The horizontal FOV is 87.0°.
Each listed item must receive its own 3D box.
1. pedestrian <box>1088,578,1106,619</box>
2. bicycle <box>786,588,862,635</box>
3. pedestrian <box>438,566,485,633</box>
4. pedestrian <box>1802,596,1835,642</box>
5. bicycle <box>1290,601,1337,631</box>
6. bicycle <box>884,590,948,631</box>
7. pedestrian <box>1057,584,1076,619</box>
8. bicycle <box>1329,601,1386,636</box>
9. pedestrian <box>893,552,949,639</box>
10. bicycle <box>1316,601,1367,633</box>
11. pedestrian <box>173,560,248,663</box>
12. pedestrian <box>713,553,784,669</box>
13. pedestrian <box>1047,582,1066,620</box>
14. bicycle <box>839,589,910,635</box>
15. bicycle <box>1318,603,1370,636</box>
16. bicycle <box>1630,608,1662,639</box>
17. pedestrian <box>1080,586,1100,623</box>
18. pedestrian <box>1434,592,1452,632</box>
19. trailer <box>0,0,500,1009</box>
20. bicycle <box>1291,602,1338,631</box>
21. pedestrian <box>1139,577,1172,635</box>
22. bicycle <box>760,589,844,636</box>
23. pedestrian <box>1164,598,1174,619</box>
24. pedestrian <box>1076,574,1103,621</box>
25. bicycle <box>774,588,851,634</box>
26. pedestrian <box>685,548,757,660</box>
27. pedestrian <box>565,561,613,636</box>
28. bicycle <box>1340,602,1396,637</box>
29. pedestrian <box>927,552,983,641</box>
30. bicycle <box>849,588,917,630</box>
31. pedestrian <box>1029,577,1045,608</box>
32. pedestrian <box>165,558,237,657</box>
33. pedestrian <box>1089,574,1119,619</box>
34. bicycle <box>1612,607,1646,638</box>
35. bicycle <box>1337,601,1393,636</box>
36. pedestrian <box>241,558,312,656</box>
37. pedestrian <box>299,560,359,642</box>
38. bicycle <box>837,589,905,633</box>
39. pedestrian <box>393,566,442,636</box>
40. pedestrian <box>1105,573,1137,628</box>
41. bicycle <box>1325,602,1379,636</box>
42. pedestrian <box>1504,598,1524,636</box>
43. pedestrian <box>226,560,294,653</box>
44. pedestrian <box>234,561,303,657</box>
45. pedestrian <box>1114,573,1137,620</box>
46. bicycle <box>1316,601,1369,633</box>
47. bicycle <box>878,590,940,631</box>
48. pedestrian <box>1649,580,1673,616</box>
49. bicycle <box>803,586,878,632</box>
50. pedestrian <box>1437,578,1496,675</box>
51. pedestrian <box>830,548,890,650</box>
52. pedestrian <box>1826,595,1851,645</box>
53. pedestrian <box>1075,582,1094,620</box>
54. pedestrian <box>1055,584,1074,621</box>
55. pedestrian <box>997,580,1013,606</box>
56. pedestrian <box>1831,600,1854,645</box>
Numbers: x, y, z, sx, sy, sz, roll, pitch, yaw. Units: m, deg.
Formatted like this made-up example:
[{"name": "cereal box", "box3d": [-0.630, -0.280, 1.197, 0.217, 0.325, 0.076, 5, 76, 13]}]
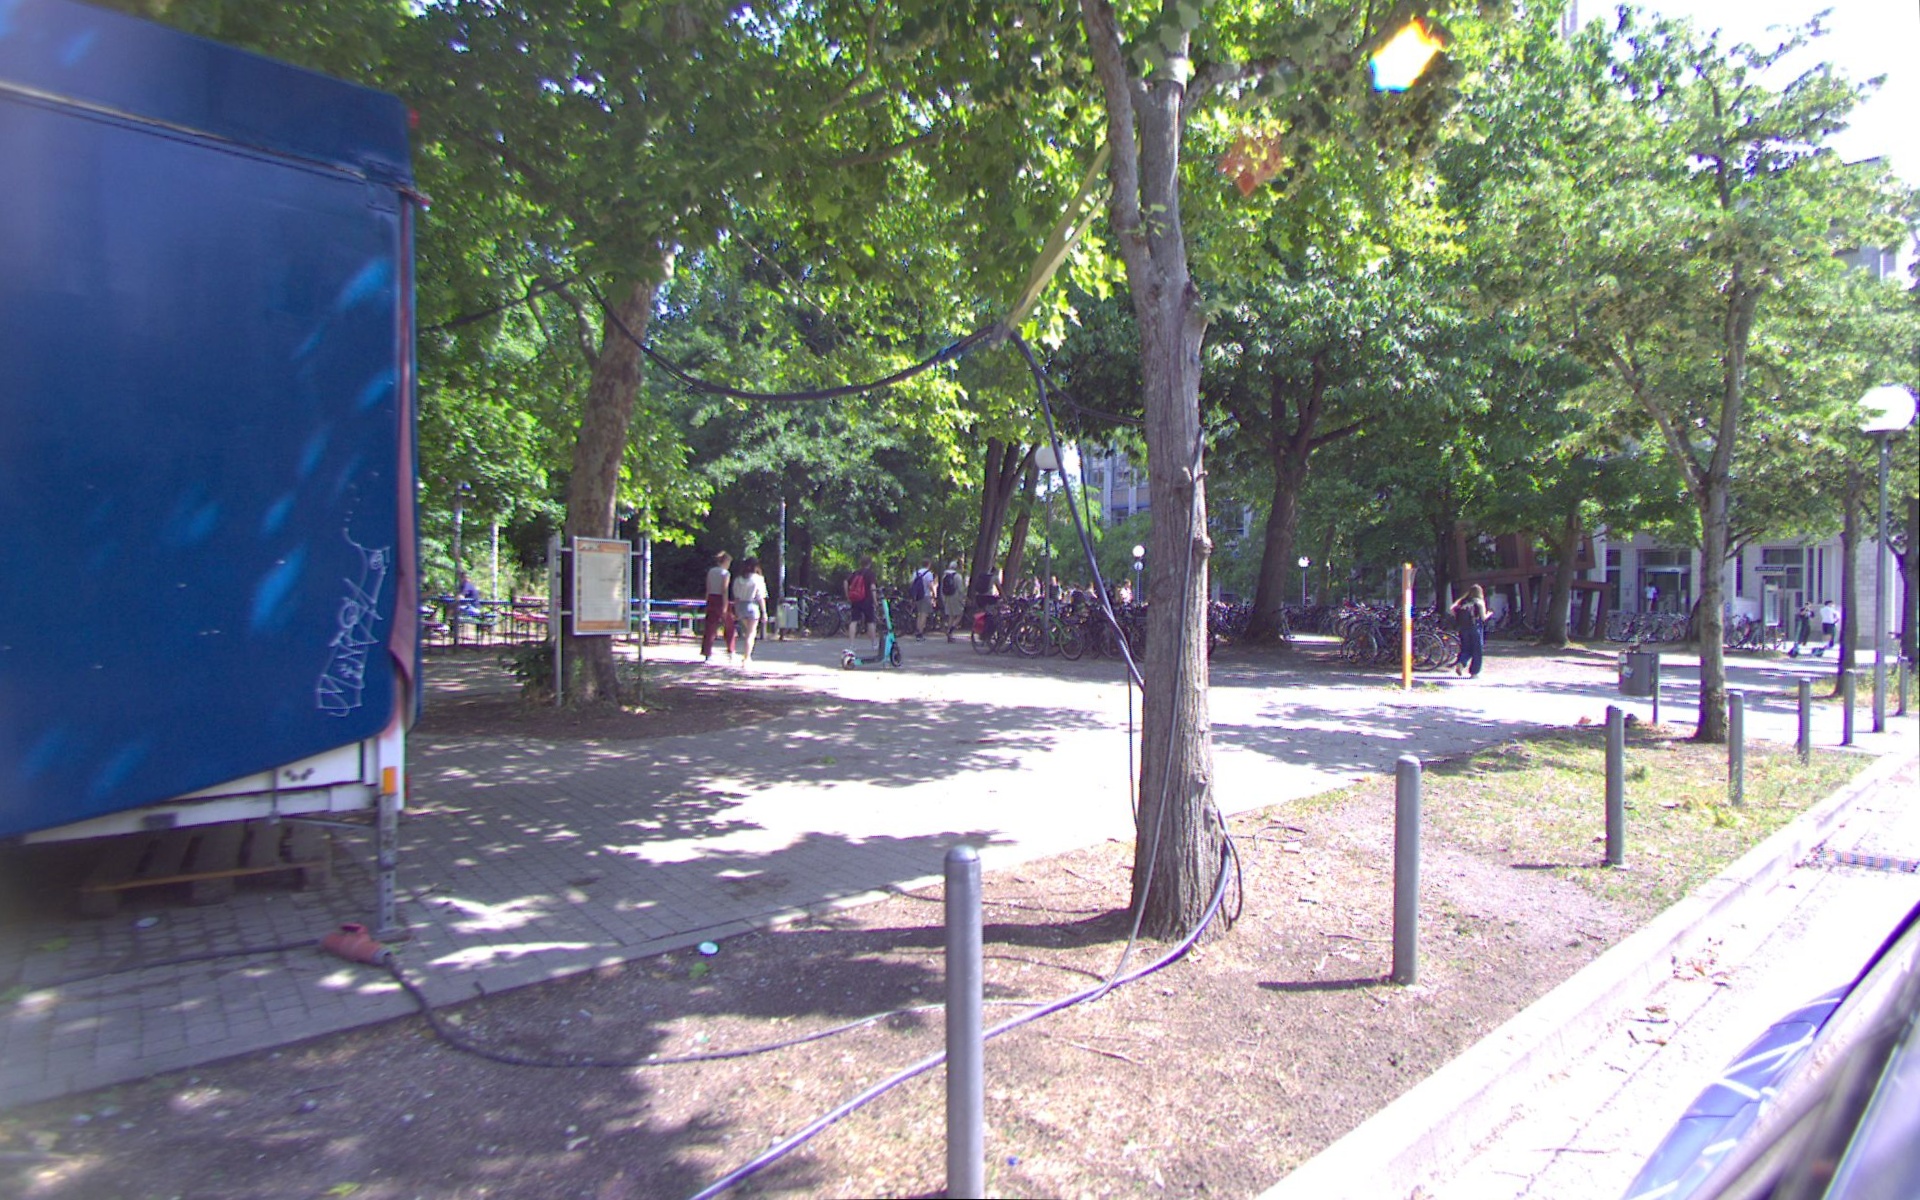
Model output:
[{"name": "pedestrian", "box3d": [6.074, -0.077, 44.803, 0.732, 1.797, 0.719, 1, -1, 9]}, {"name": "bicycle", "box3d": [-3.291, 0.267, 24.360, 1.943, 1.052, 0.430, 2, 1, 30]}, {"name": "pedestrian", "box3d": [-9.921, -0.007, 20.141, 0.667, 1.287, 0.612, 5, 2, 45]}, {"name": "pedestrian", "box3d": [34.595, 0.758, 40.801, 0.795, 1.820, 0.619, 1, 0, 5]}, {"name": "bicycle", "box3d": [14.890, 0.669, 42.697, 1.812, 1.185, 0.345, 1, 0, 5]}, {"name": "bicycle", "box3d": [-1.216, 0.271, 27.711, 1.737, 1.052, 0.474, 2, 1, 28]}, {"name": "pedestrian", "box3d": [5.545, 0.090, 52.614, 0.729, 1.797, 0.722, 2, -1, -16]}, {"name": "bicycle", "box3d": [13.949, 0.638, 35.566, 1.817, 1.185, 0.352, 1, 0, 13]}, {"name": "pedestrian", "box3d": [-0.915, -0.117, 23.860, 0.828, 1.973, 1.068, 3, 1, 28]}, {"name": "bicycle", "box3d": [14.935, 0.669, 39.642, 1.815, 1.185, 0.412, 1, 0, 10]}, {"name": "pedestrian", "box3d": [-10.434, 0.156, 14.090, 0.570, 1.363, 0.717, 4, 2, 44]}, {"name": "pedestrian", "box3d": [-3.171, 0.150, 15.186, 0.774, 1.682, 0.698, 1, 0, -41]}, {"name": "pedestrian", "box3d": [4.597, 0.038, 48.350, 0.730, 1.797, 0.721, 2, -1, -3]}, {"name": "bicycle", "box3d": [-2.119, 0.283, 24.950, 1.768, 1.052, 0.430, 2, 1, 28]}, {"name": "bicycle", "box3d": [14.856, 0.749, 39.151, 1.815, 1.185, 0.412, 1, 0, 10]}, {"name": "bicycle", "box3d": [26.143, 0.909, 38.552, 1.486, 1.099, 0.482, 3, 0, -36]}, {"name": "pedestrian", "box3d": [6.578, 0.224, 51.048, 0.729, 1.797, 0.722, 2, -1, -16]}, {"name": "pedestrian", "box3d": [21.234, 0.542, 44.443, 0.426, 1.725, 0.929, -2, -3, 44]}, {"name": "trailer", "box3d": [-4.857, -0.466, 2.583, 6.150, 3.090, 2.695, 1, 1, -43]}, {"name": "bicycle", "box3d": [15.077, 0.684, 43.032, 1.812, 1.185, 0.345, 1, 0, 5]}, {"name": "pedestrian", "box3d": [6.178, 0.200, 32.034, 0.706, 1.797, 0.746, 2, -1, -21]}, {"name": "bicycle", "box3d": [-3.607, 0.272, 23.033, 1.943, 0.991, 0.606, 2, 1, 30]}, {"name": "pedestrian", "box3d": [11.913, 0.487, 57.705, 0.379, 1.228, 0.403, 2, -1, -33]}, {"name": "pedestrian", "box3d": [4.939, -0.094, 38.603, 0.742, 1.797, 0.710, 1, -1, 41]}, {"name": "bicycle", "box3d": [-3.498, 0.250, 23.979, 1.943, 0.991, 0.434, 2, 1, 30]}, {"name": "pedestrian", "box3d": [-3.717, 0.054, 15.730, 0.810, 1.682, 0.766, 1, 0, -41]}, {"name": "pedestrian", "box3d": [-8.271, -0.030, 22.560, 0.667, 1.601, 0.707, 4, 2, 44]}, {"name": "bicycle", "box3d": [14.787, 0.705, 36.671, 1.817, 1.185, 0.387, 1, 0, 13]}, {"name": "pedestrian", "box3d": [-0.105, -0.086, 23.383, 0.828, 1.973, 1.068, 3, 1, 28]}, {"name": "bicycle", "box3d": [-2.035, 0.228, 26.792, 1.815, 1.052, 0.474, 2, 1, 28]}, {"name": "pedestrian", "box3d": [3.880, -0.397, 51.031, 0.679, 1.530, 0.514, 3, 1, 6]}, {"name": "pedestrian", "box3d": [-11.000, 0.103, 14.672, 0.570, 1.363, 0.717, 4, 2, 44]}, {"name": "pedestrian", "box3d": [5.921, -0.139, 41.593, 0.954, 1.797, 0.963, 1, -1, 27]}, {"name": "bicycle", "box3d": [25.614, 0.871, 38.739, 1.664, 1.099, 0.482, 3, 0, -36]}, {"name": "bicycle", "box3d": [14.540, 0.657, 36.335, 1.817, 1.185, 0.352, 1, 0, 13]}, {"name": "pedestrian", "box3d": [-9.904, 0.099, 14.671, 0.570, 1.363, 0.717, 4, 2, 44]}, {"name": "pedestrian", "box3d": [-10.964, 0.008, 17.589, 0.667, 1.363, 0.707, 4, 2, 44]}, {"name": "bicycle", "box3d": [-2.292, 0.262, 25.952, 1.768, 1.052, 0.474, 2, 1, 28]}, {"name": "pedestrian", "box3d": [-10.434, 0.014, 19.448, 0.667, 1.287, 0.612, 5, 2, 45]}, {"name": "pedestrian", "box3d": [5.306, 0.008, 33.361, 0.742, 1.797, 0.710, 1, -1, 41]}, {"name": "bicycle", "box3d": [14.627, 0.699, 37.796, 1.815, 1.185, 0.412, 1, 0, 10]}, {"name": "pedestrian", "box3d": [25.975, 0.804, 47.450, 0.744, 1.762, 0.926, 0, -1, 33]}, {"name": "pedestrian", "box3d": [-10.719, 0.096, 15.501, 0.570, 1.363, 0.717, 4, 2, 44]}, {"name": "pedestrian", "box3d": [-10.311, 0.133, 15.090, 0.570, 1.363, 0.717, 4, 2, 44]}, {"name": "pedestrian", "box3d": [6.377, -0.126, 38.899, 0.735, 1.797, 0.717, 1, -1, 18]}, {"name": "bicycle", "box3d": [14.540, 0.639, 38.504, 1.815, 1.185, 0.412, 1, 0, 10]}, {"name": "bicycle", "box3d": [-1.379, 0.271, 27.393, 1.737, 1.052, 0.344, 2, 1, 28]}, {"name": "pedestrian", "box3d": [36.183, -0.096, 52.273, 0.793, 1.820, 0.621, 1, 0, -9]}, {"name": "bicycle", "box3d": [-2.967, 0.211, 25.004, 1.943, 1.052, 0.473, 2, 1, 30]}, {"name": "pedestrian", "box3d": [8.643, 0.432, 17.252, 0.911, 1.591, 0.569, 0, 2, -41]}, {"name": "pedestrian", "box3d": [-1.898, -0.030, 19.184, 0.809, 1.878, 0.766, 1, 0, -41]}, {"name": "pedestrian", "box3d": [34.297, 0.783, 39.517, 0.675, 1.915, 0.685, 0, 0, -44]}, {"name": "pedestrian", "box3d": [6.019, 0.071, 48.870, 0.730, 1.797, 0.721, 2, -1, -3]}, {"name": "pedestrian", "box3d": [5.226, 0.129, 50.629, 0.729, 1.797, 0.722, 2, -1, -16]}, {"name": "pedestrian", "box3d": [2.854, -0.454, 64.431, 0.730, 1.589, 0.721, 2, -1, -33]}, {"name": "pedestrian", "box3d": [35.055, 0.899, 40.200, 0.533, 1.751, 0.613, 1, 0, -40]}]
